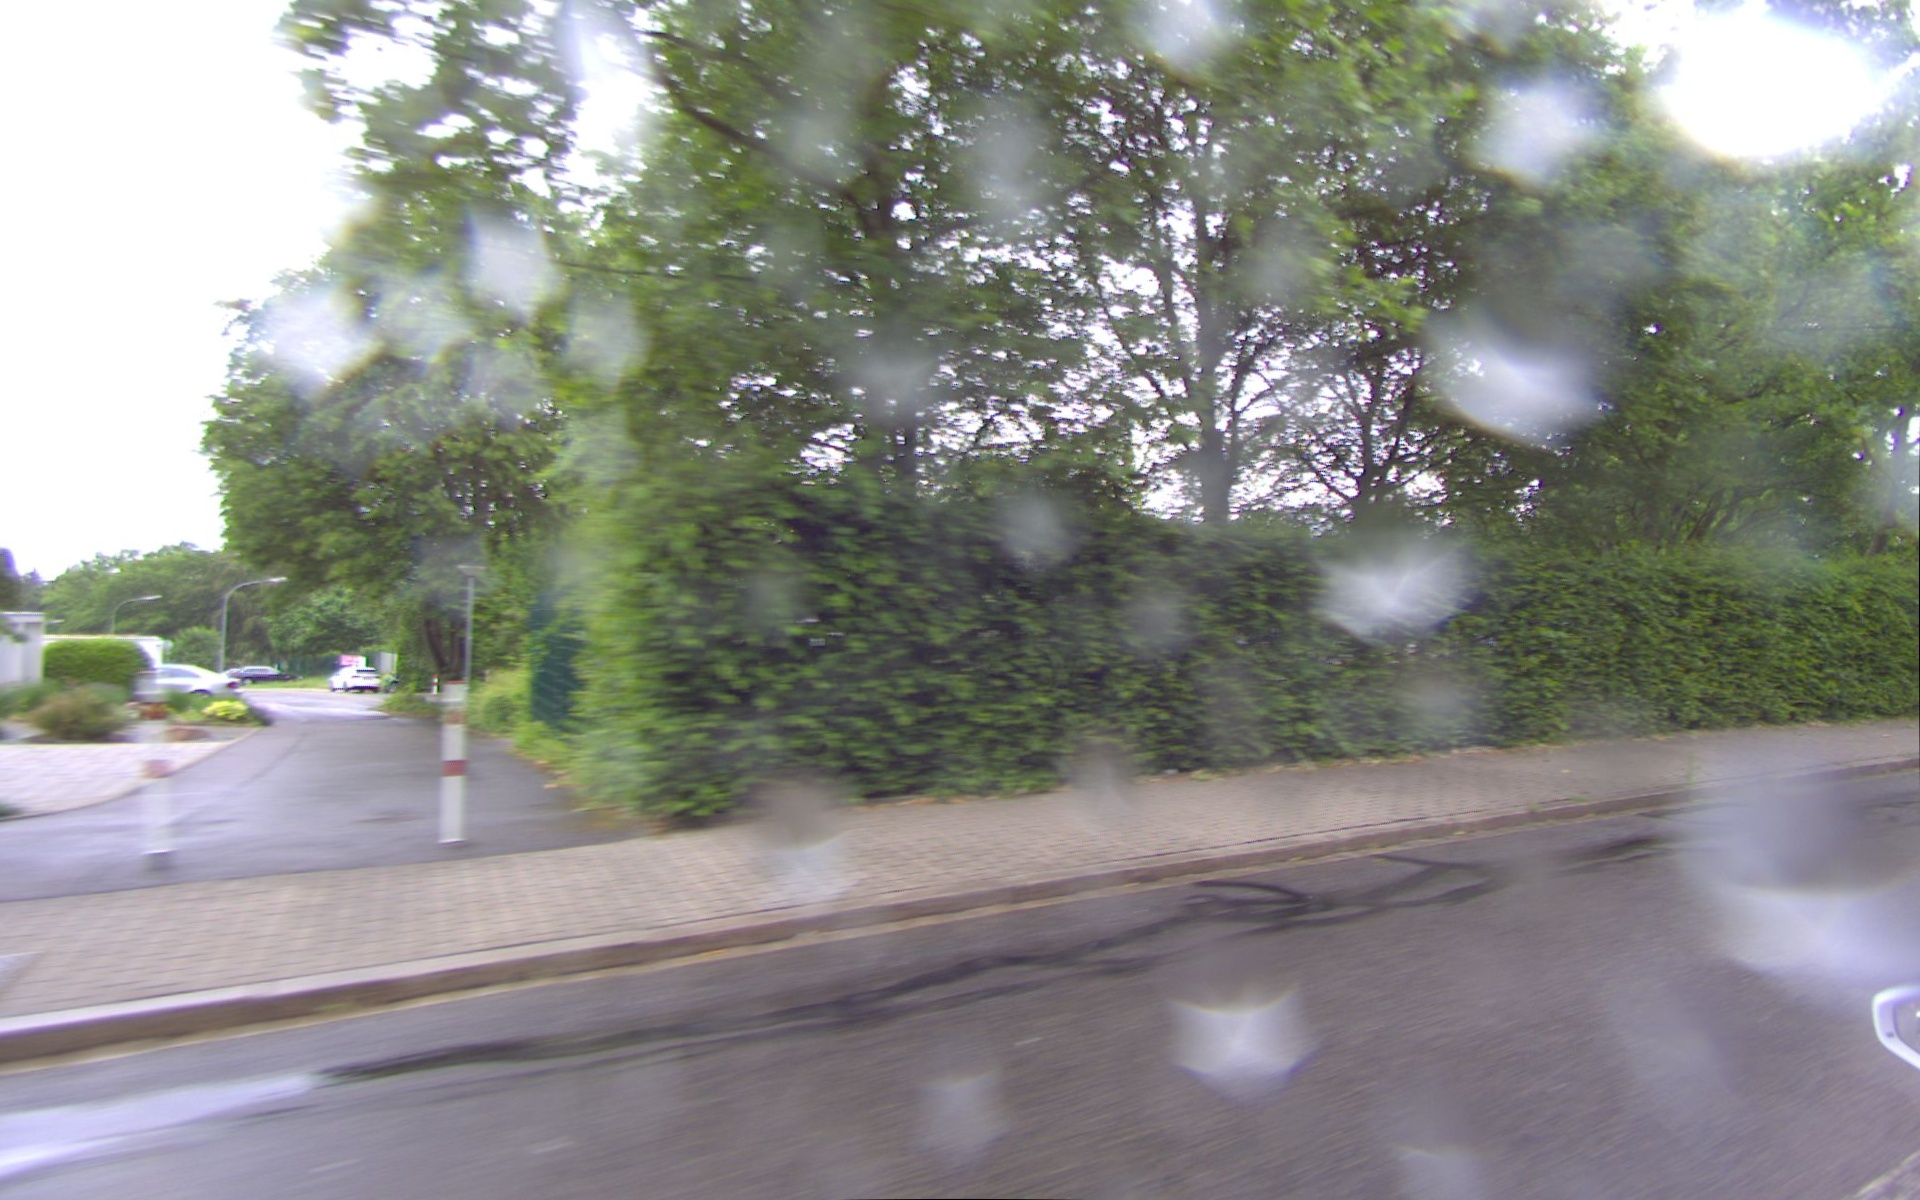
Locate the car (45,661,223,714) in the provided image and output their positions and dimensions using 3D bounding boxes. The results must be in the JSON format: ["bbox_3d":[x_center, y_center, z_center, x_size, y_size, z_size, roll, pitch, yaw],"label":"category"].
[{"bbox_3d":[-24.537,2.556,30.058,3.962,1.416,1.860,2,-3,-36],"label":"car"}]

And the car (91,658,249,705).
[{"bbox_3d":[-25.871,2.643,33.095,3.962,1.416,1.860,2,-3,-36],"label":"car"}]

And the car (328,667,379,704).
[{"bbox_3d":[-35.618,4.991,58.942,1.865,2.013,3.953,2,-3,-41],"label":"car"}]

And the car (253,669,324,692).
[{"bbox_3d":[-46.199,5.530,69.113,3.962,1.416,1.860,2,-3,-36],"label":"car"}]
